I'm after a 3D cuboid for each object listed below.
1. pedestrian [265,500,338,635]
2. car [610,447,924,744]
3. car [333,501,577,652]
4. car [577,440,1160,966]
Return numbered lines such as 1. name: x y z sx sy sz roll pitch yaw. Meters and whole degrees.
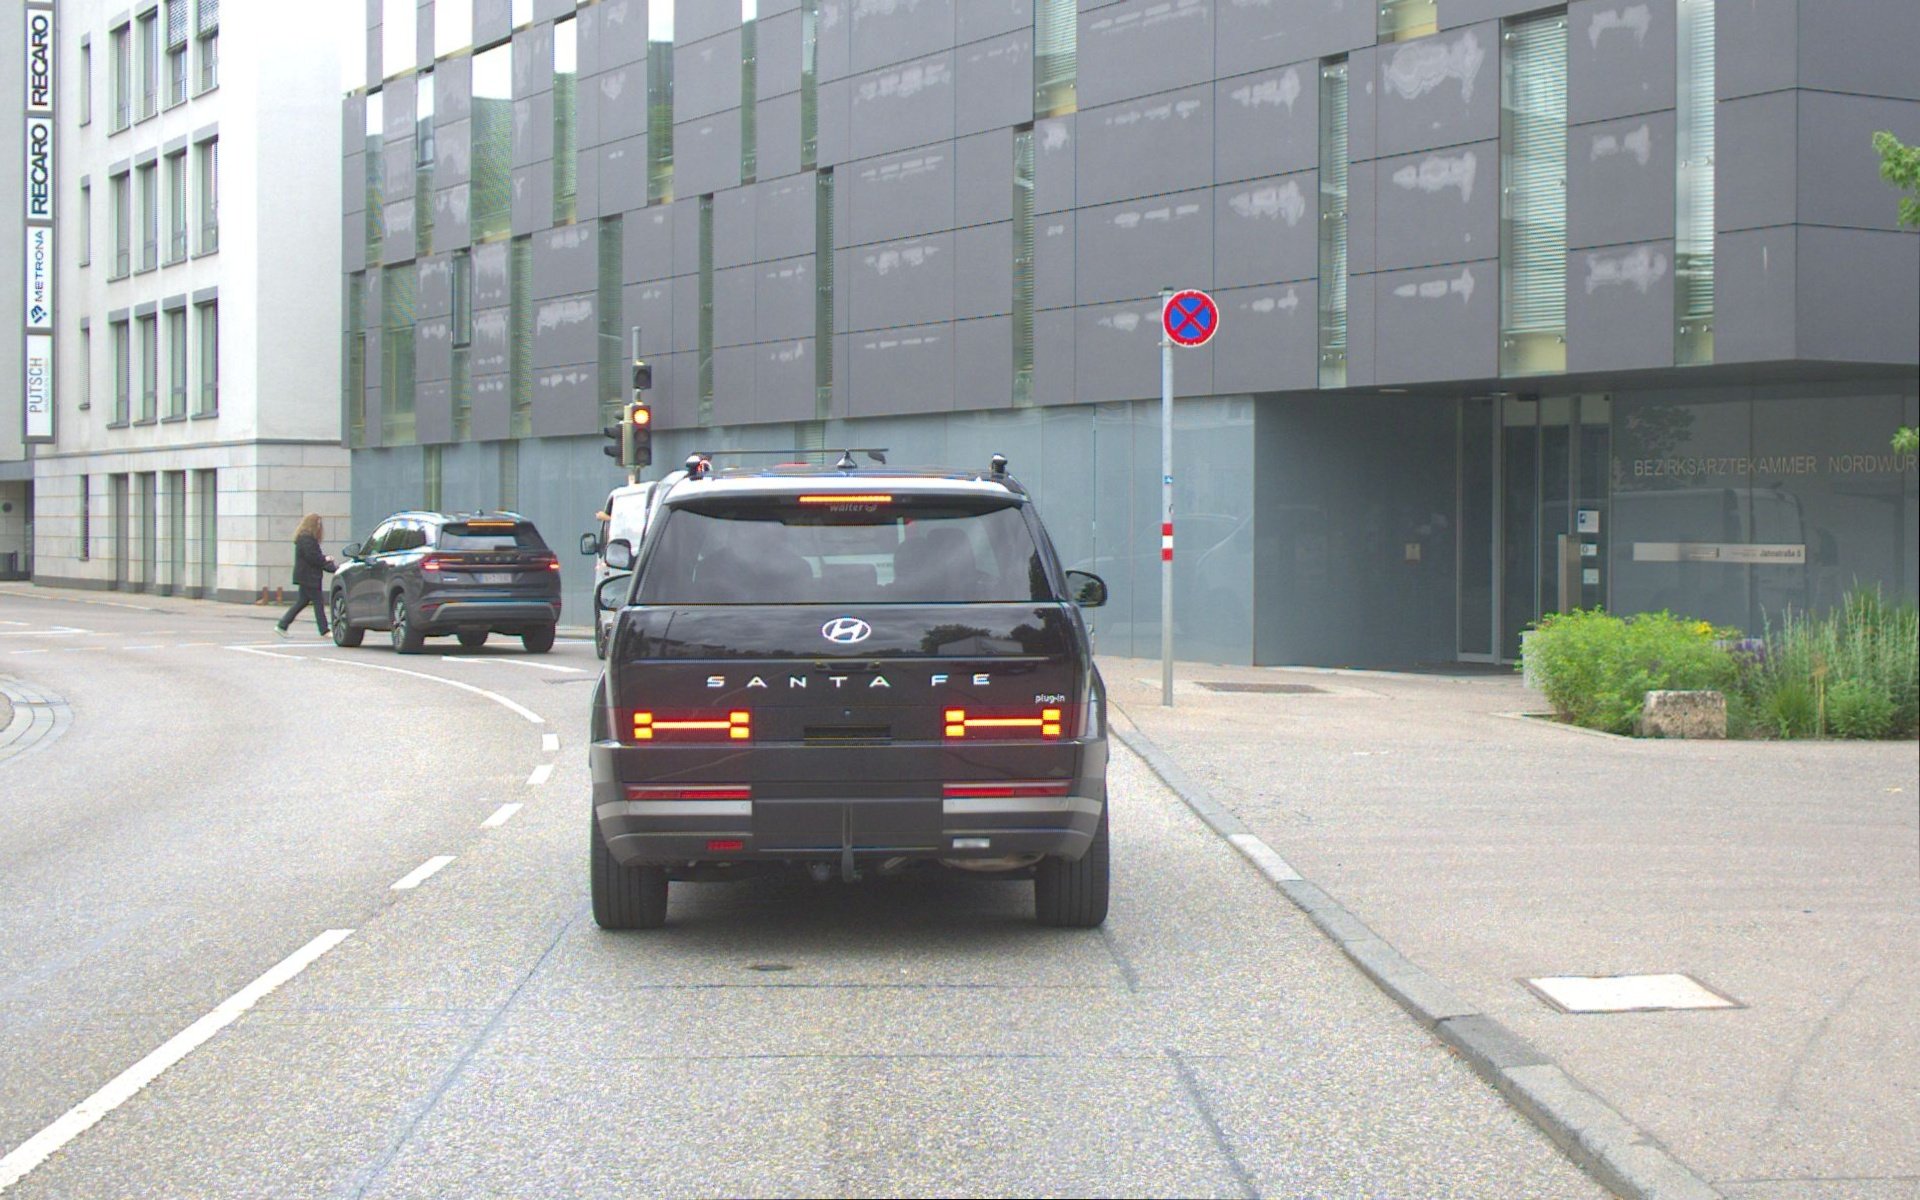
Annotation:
1. pedestrian: -8.836 -0.441 46.127 0.938 1.794 0.591 0 1 -13
2. car: -1.539 -0.099 25.804 1.855 2.026 4.438 0 2 -10
3. car: -6.093 -0.297 41.099 1.847 1.671 4.376 -1 1 -22
4. car: -0.454 0.302 13.649 1.915 1.719 4.171 2 1 -4
